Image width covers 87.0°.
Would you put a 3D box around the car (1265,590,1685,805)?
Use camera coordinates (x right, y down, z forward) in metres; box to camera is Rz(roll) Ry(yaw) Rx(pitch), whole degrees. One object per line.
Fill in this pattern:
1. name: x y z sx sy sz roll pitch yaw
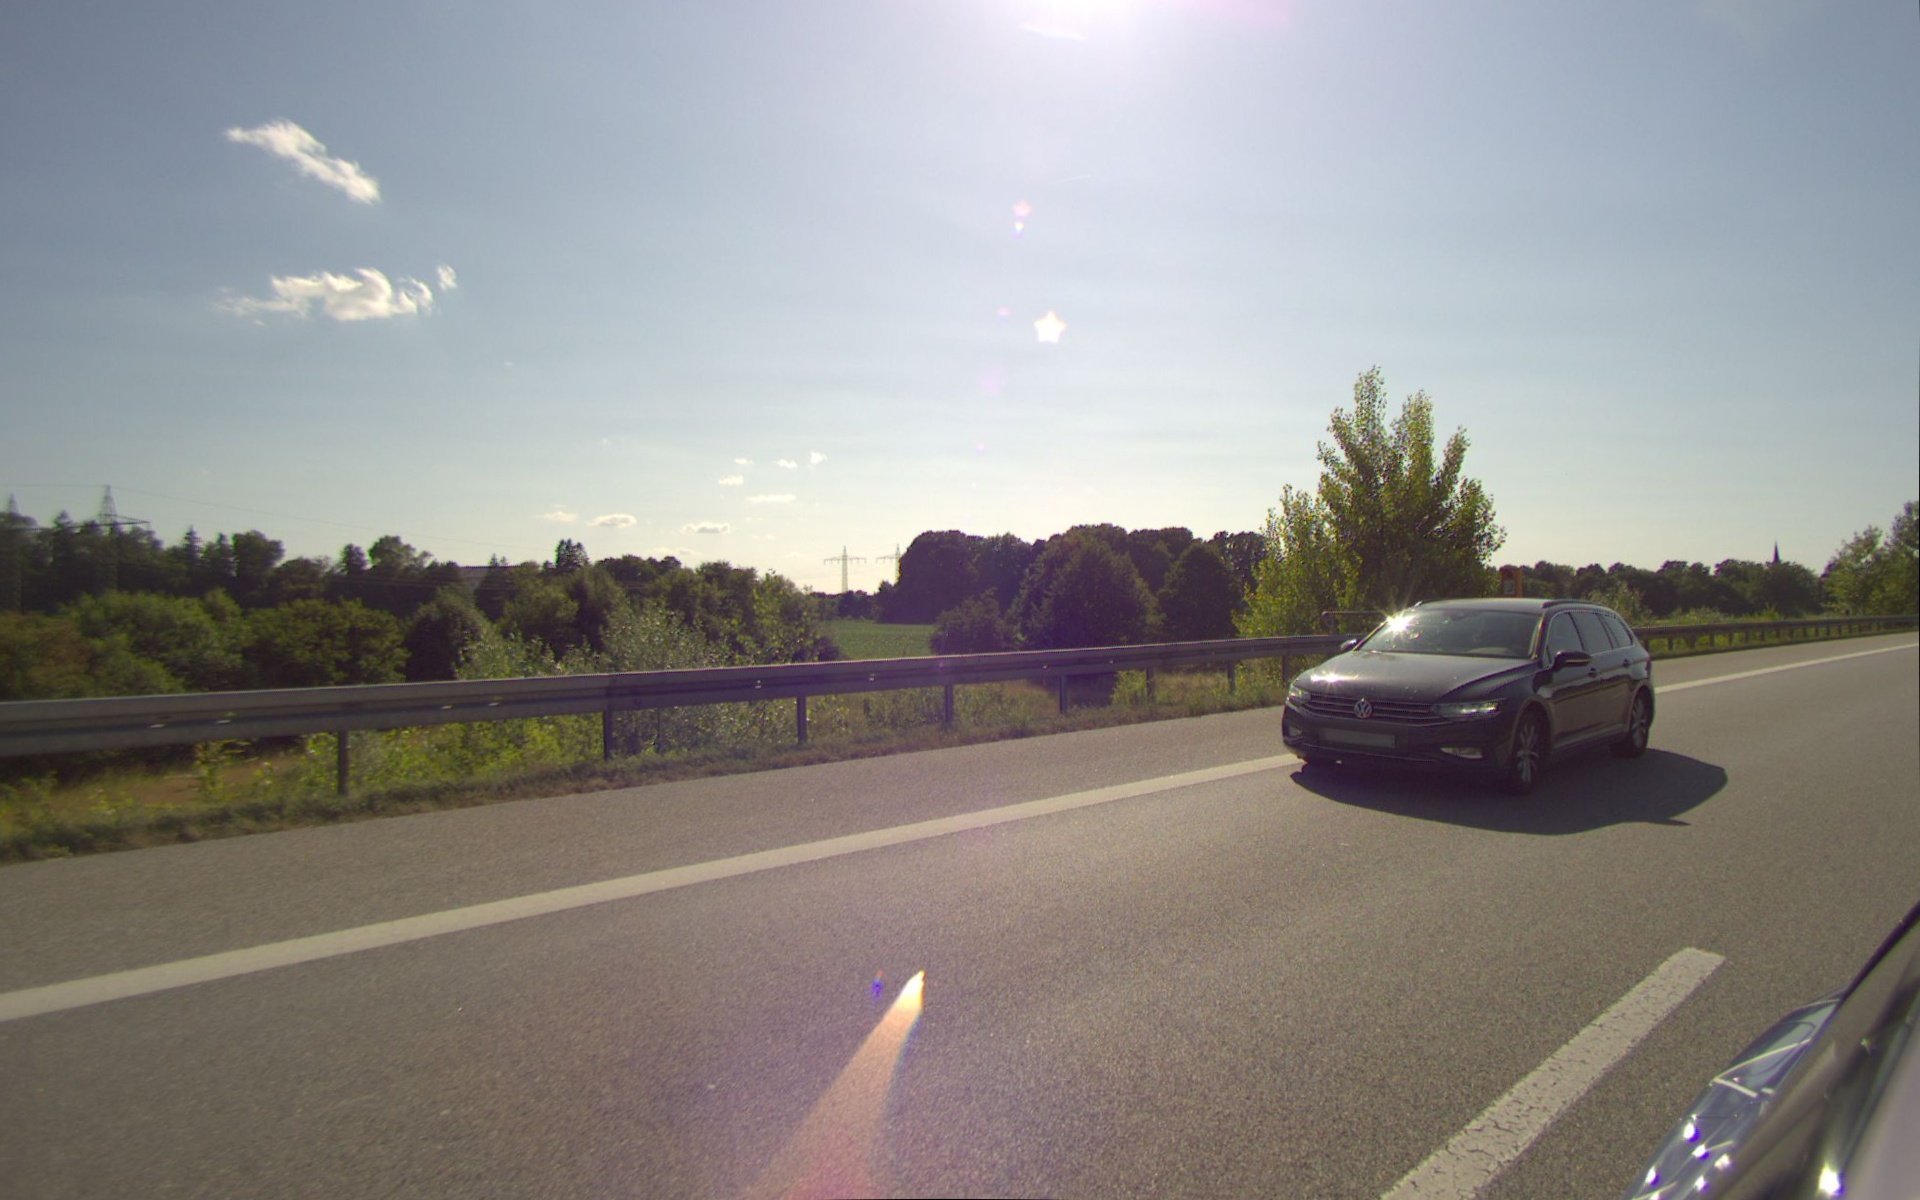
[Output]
1. car: 4.635 0.626 8.811 4.335 1.417 1.722 -1 1 -40
